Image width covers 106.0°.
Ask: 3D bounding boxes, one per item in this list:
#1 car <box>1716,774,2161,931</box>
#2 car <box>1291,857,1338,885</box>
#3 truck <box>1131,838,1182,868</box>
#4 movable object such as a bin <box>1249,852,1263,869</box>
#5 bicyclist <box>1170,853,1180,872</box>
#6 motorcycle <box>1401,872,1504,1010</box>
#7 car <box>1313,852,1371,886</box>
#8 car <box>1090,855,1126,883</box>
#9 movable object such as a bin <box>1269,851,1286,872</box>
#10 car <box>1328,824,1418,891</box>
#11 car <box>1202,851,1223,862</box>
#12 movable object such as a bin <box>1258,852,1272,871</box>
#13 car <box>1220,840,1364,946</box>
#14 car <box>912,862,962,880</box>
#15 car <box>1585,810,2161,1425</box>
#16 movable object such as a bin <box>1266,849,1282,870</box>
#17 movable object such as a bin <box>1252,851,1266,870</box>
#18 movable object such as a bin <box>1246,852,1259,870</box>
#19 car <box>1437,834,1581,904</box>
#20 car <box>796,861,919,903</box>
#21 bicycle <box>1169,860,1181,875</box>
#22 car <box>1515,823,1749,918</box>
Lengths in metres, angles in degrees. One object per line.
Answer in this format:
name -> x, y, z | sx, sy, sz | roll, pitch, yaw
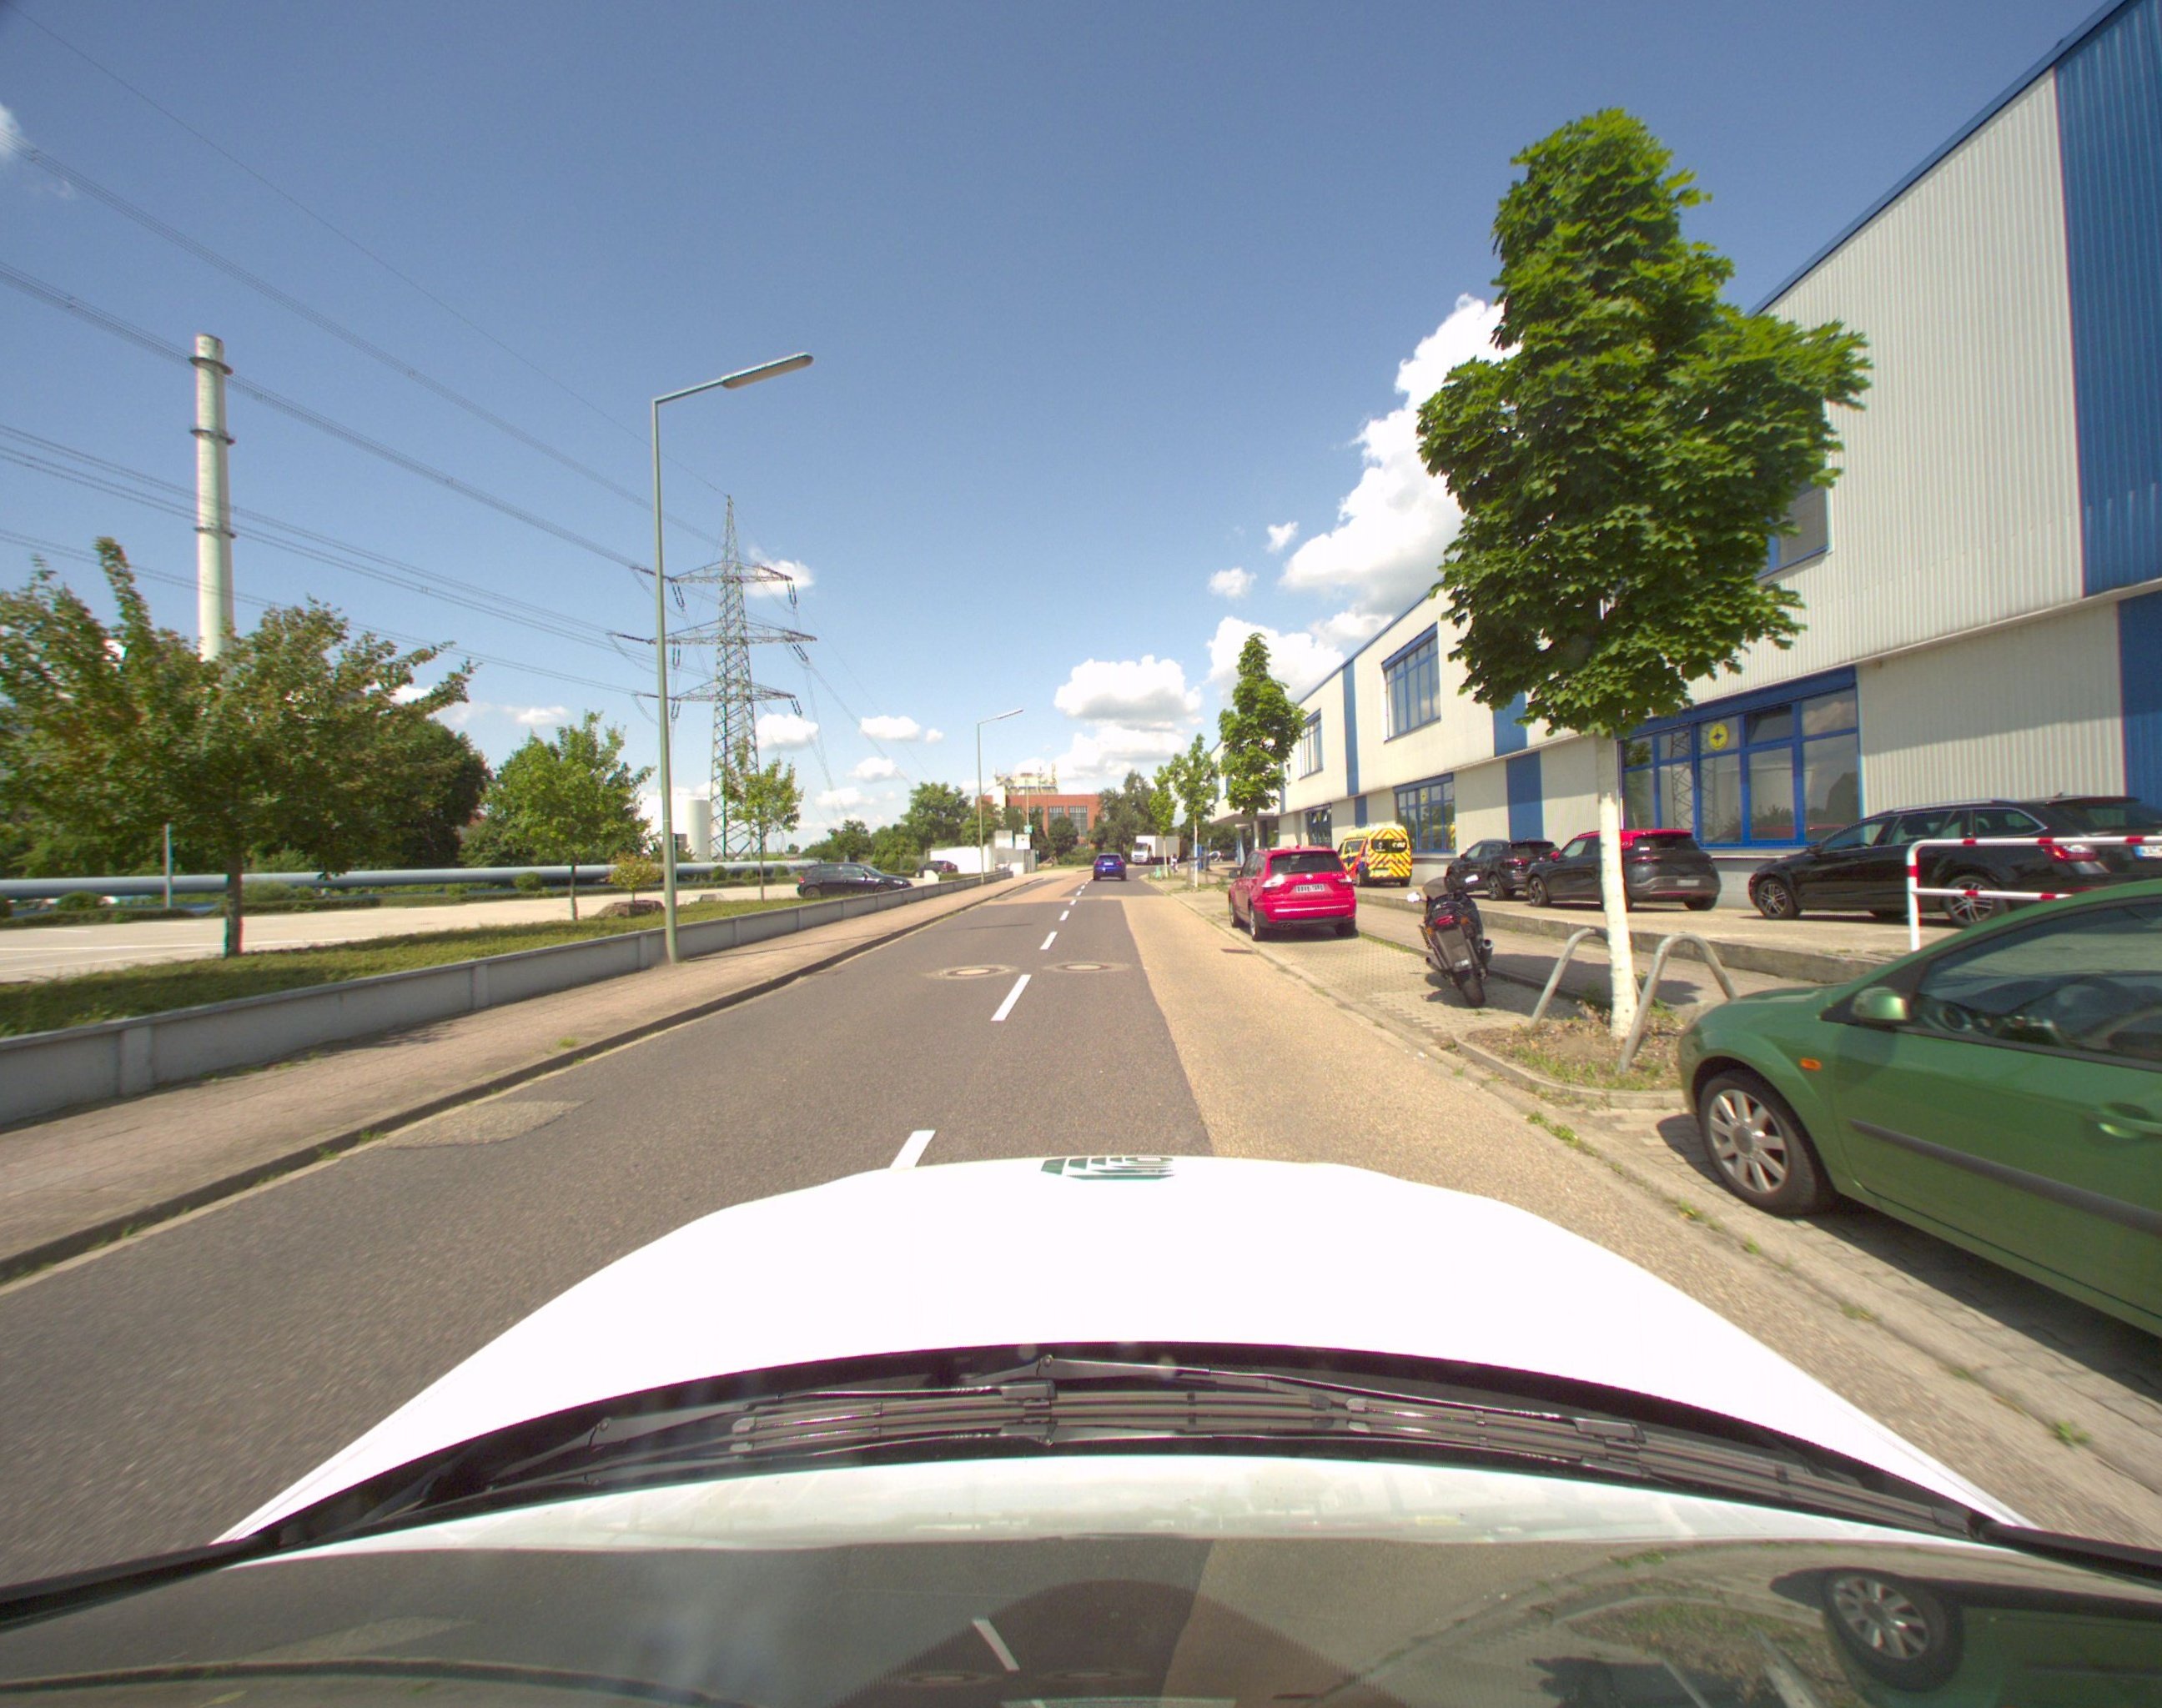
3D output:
car -> 10.752, 0.069, 10.332 | 1.820, 1.513, 4.642 | -2, -3, 2
car -> 12.544, 0.898, 43.920 | 1.490, 1.403, 3.856 | -1, -1, 2
truck -> 9.551, -0.179, 102.006 | 2.299, 3.567, 9.427 | 0, 1, 32
movable object such as a bin -> 14.025, 0.523, 65.357 | 0.801, 1.413, 1.357 | -1, -1, 0
bicyclist -> 7.370, 0.659, 63.903 | 0.658, 1.397, 0.861 | -2, 0, 13
motorcycle -> 3.928, 0.839, 8.780 | 0.848, 1.200, 2.376 | -2, 0, 22
car -> 12.197, 0.693, 38.241 | 1.567, 1.490, 3.818 | -1, -1, 2
car -> 1.677, 0.886, 49.544 | 1.900, 1.593, 4.708 | -1, 0, 5
movable object such as a bin -> 13.662, 0.496, 56.637 | 0.801, 1.413, 1.358 | -1, -1, 1
car -> 11.771, 0.144, 33.257 | 1.916, 2.464, 5.261 | -1, -1, 2
car -> 19.044, 0.406, 117.878 | 2.884, 1.570, 1.893 | -1, -1, 5
movable object such as a bin -> 13.759, 0.543, 60.924 | 0.801, 1.413, 1.174 | -1, -1, -1
car -> 3.903, 0.660, 15.868 | 1.747, 1.650, 4.682 | -4, -1, 4
car -> -12.065, 1.420, 68.172 | 3.948, 1.378, 1.815 | -2, 0, 36
car -> 3.498, 0.637, 2.367 | 1.662, 1.520, 3.996 | -1, 0, 2
movable object such as a bin -> 13.772, 0.399, 58.105 | 0.801, 1.413, 1.358 | -1, -1, 1
movable object such as a bin -> 13.982, 0.521, 63.944 | 0.801, 1.413, 1.405 | -1, -1, 0
movable object such as a bin -> 14.086, 0.572, 66.835 | 0.801, 1.413, 1.357 | -1, -1, 0
car -> 11.336, 0.400, 21.919 | 1.708, 1.652, 4.216 | -2, -1, 2
car -> -8.190, 1.004, 30.071 | 3.972, 1.376, 1.804 | -2, 0, 1
bicycle -> 7.361, 1.026, 63.808 | 0.662, 1.109, 2.175 | -2, 0, 13
car -> 11.135, 0.353, 16.921 | 1.986, 1.657, 4.291 | -2, -1, 2
